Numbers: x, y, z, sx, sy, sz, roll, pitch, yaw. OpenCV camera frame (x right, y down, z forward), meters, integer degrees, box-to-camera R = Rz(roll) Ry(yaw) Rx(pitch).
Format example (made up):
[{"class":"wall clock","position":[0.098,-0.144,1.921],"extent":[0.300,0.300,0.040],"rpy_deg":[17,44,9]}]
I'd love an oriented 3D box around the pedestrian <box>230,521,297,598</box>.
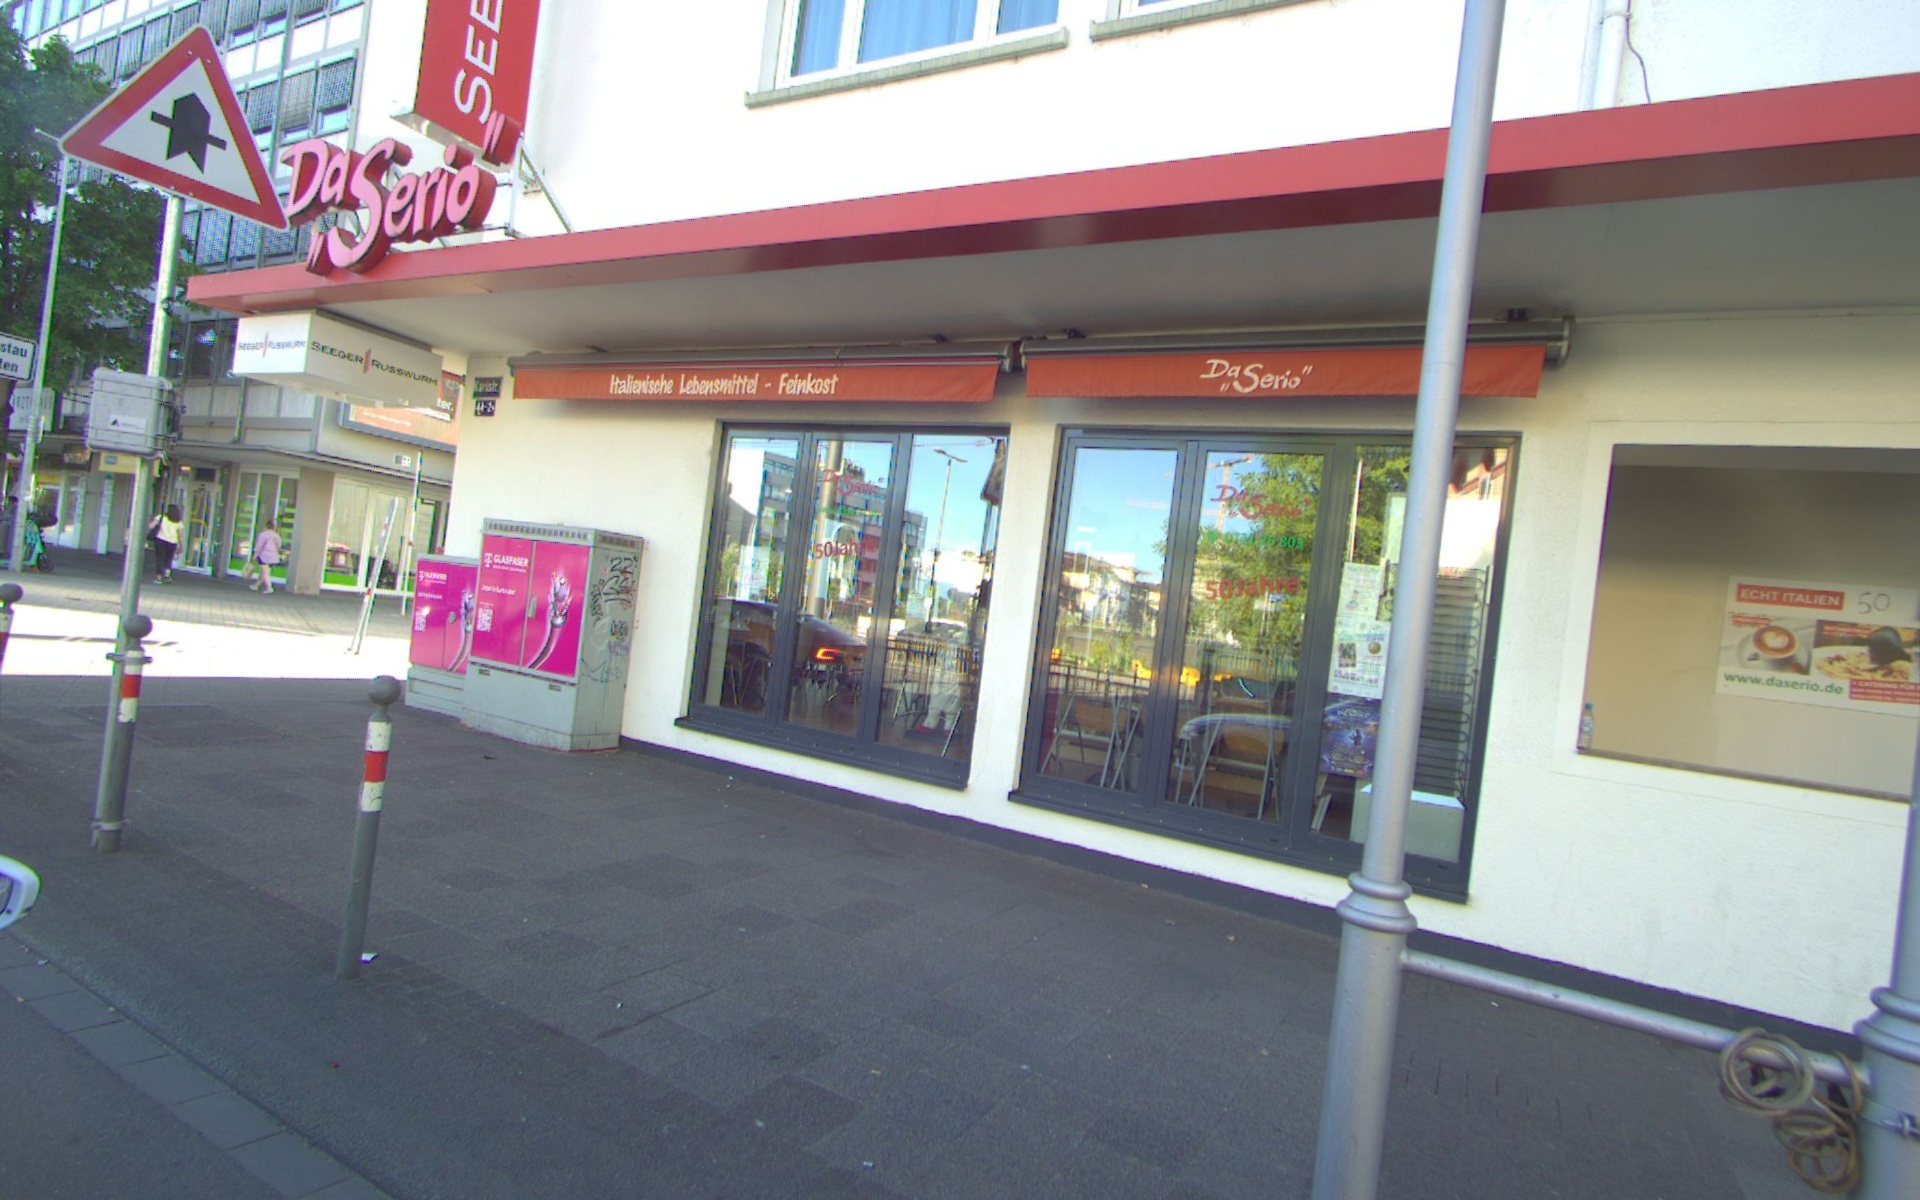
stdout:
[{"class":"pedestrian","position":[-16.097,-0.930,23.260],"extent":[0.865,1.621,0.844],"rpy_deg":[6,-1,31]}]

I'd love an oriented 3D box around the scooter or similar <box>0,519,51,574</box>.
[{"class":"scooter or similar","position":[-19.849,-1.121,21.182],"extent":[0.157,1.051,0.957],"rpy_deg":[7,-1,34]}]

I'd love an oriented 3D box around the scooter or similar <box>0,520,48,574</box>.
[{"class":"scooter or similar","position":[-20.013,-1.128,21.292],"extent":[0.157,1.039,0.964],"rpy_deg":[7,-1,34]}]

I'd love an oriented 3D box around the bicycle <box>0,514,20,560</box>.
[{"class":"bicycle","position":[-23.244,-1.556,23.472],"extent":[0.392,1.069,1.856],"rpy_deg":[7,0,21]}]

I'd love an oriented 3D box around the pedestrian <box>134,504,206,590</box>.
[{"class":"pedestrian","position":[-17.442,-1.163,22.211],"extent":[0.865,1.727,0.844],"rpy_deg":[6,-1,31]}]

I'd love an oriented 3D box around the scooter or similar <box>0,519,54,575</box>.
[{"class":"scooter or similar","position":[-19.687,-1.116,21.072],"extent":[0.157,1.056,0.964],"rpy_deg":[7,-1,34]}]

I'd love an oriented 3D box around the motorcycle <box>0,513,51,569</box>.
[{"class":"motorcycle","position":[-21.542,-1.380,22.397],"extent":[0.495,1.142,1.791],"rpy_deg":[7,-2,29]}]

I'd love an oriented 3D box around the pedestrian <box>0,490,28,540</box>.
[{"class":"pedestrian","position":[-29.585,-2.656,31.311],"extent":[0.612,1.438,0.644],"rpy_deg":[6,-1,42]}]
